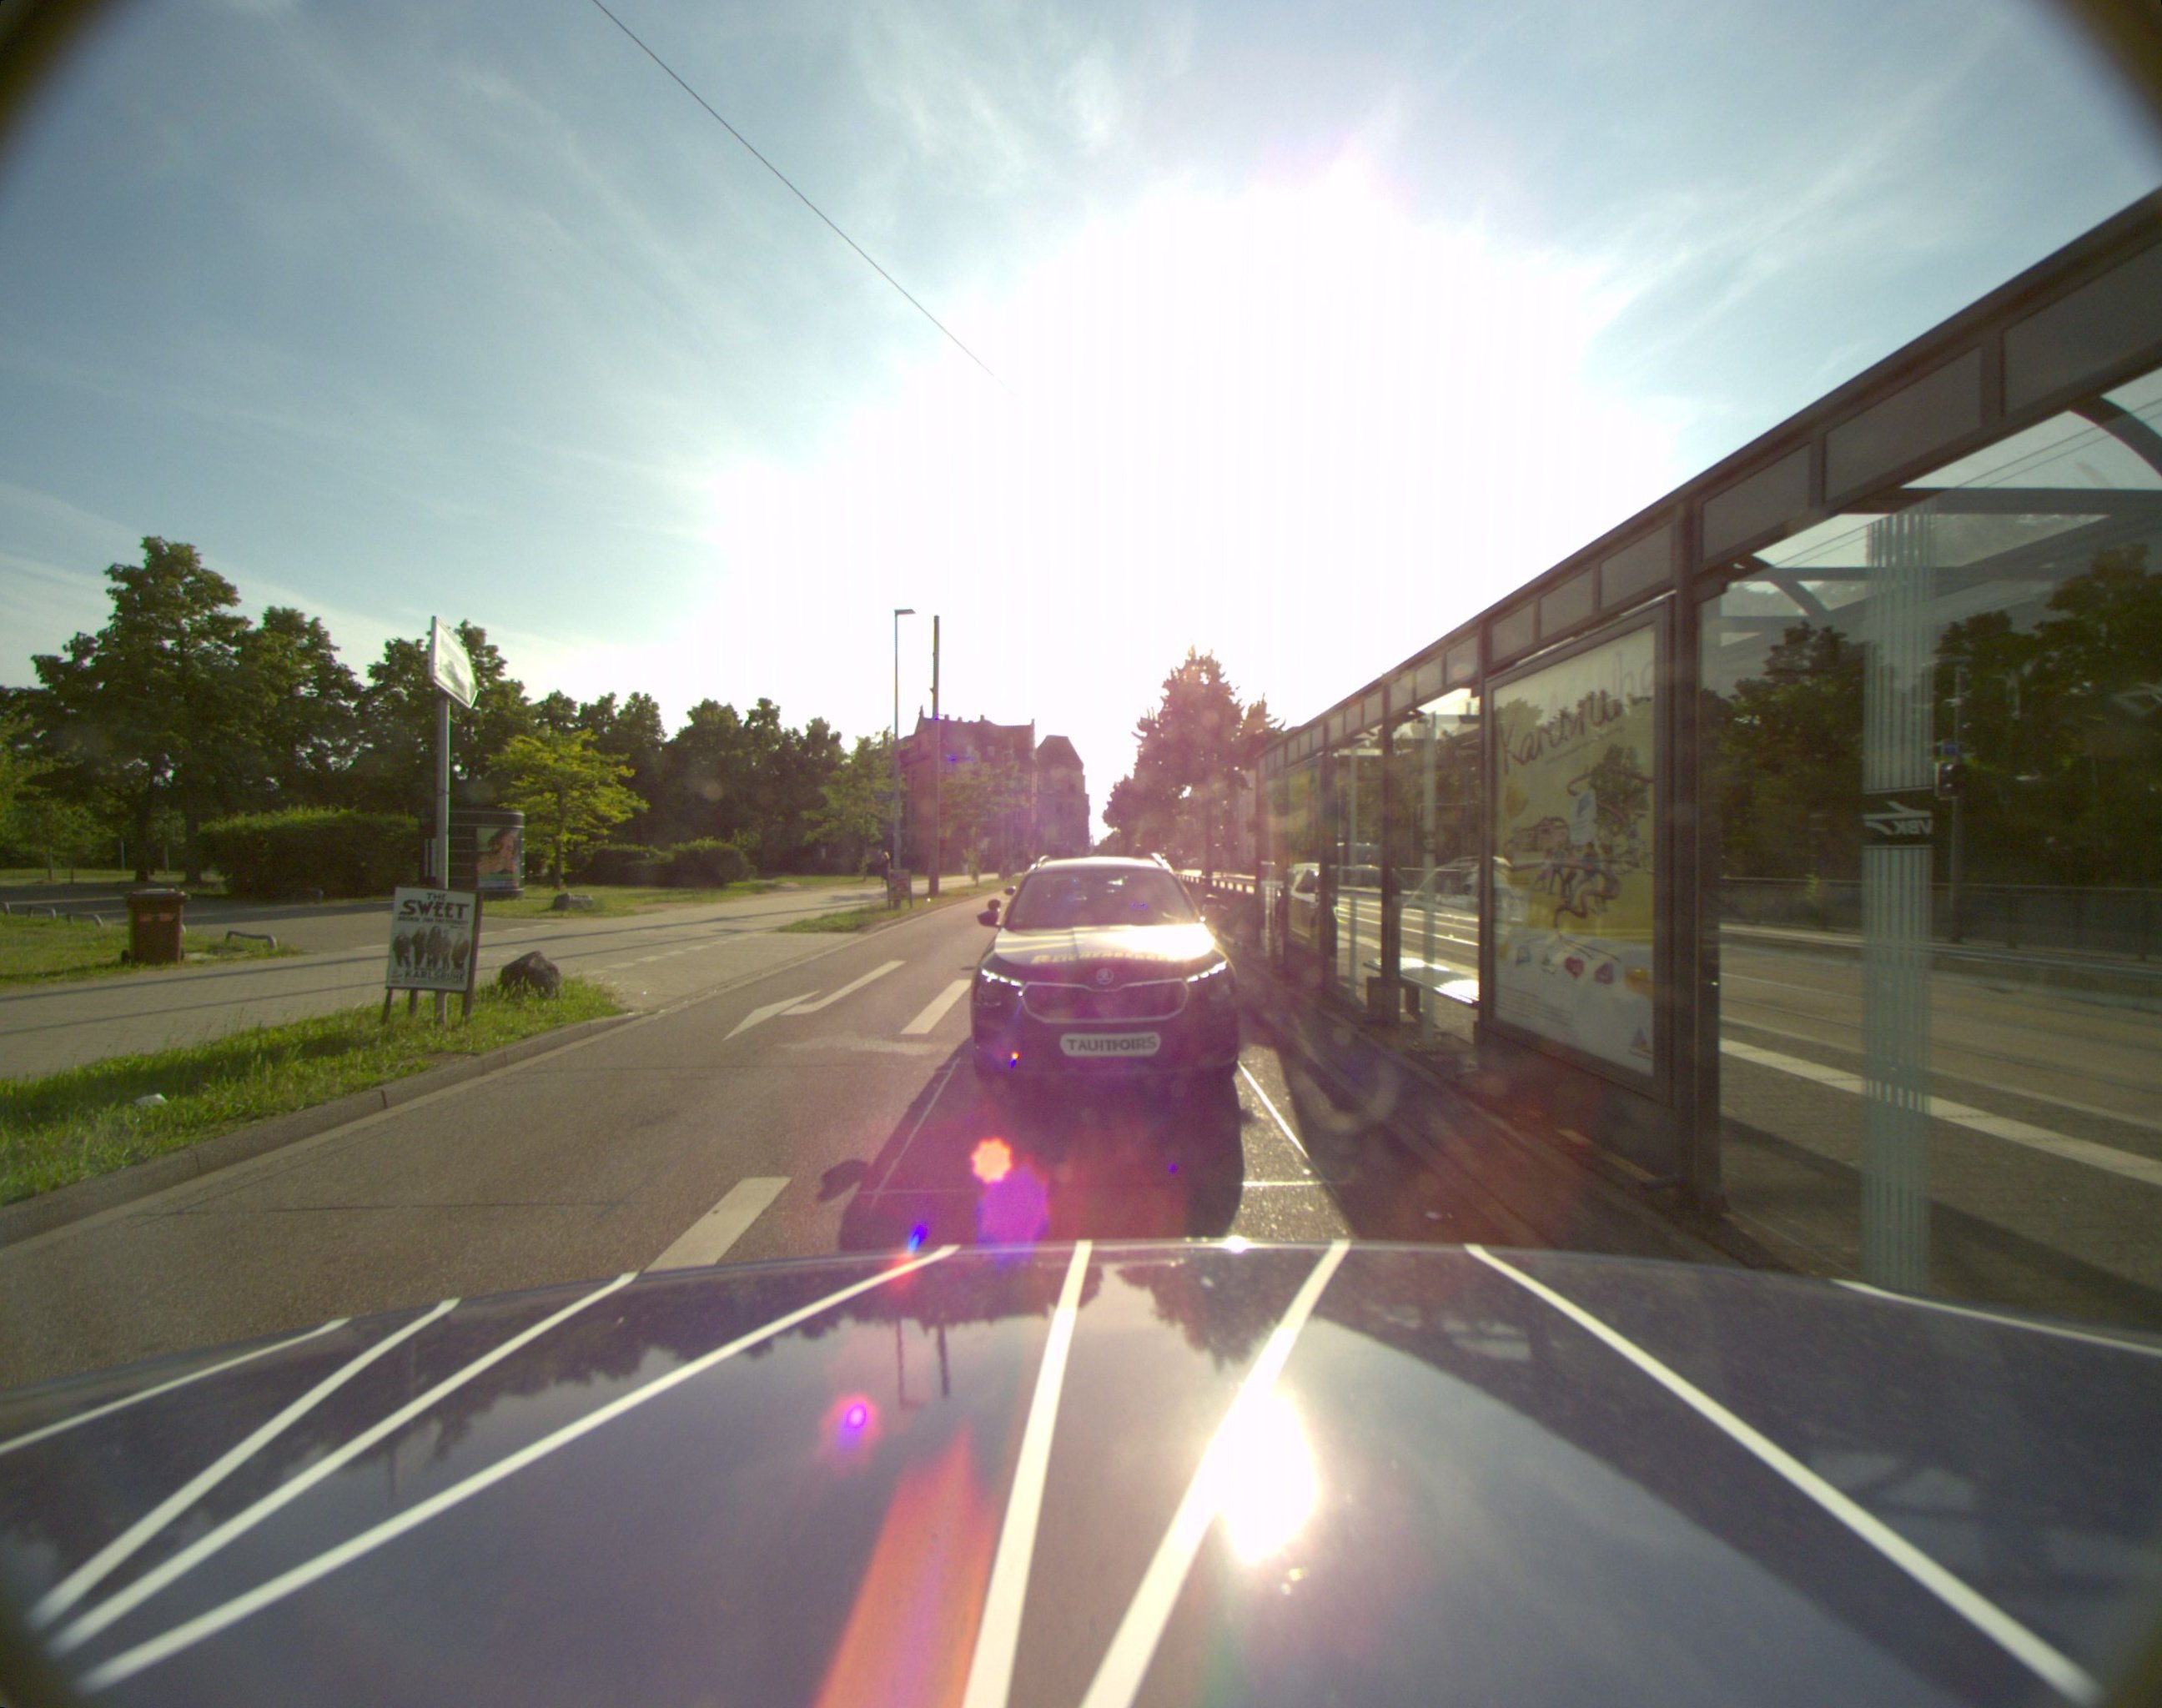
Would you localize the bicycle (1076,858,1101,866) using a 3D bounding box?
[{"bbox_3d":[0.864,0.938,91.896,2.962,0.974,0.879,0,0,-2],"label":"bicycle"}]

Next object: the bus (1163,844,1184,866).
[{"bbox_3d":[15.464,0.119,127.746,2.437,3.415,9.261,-2,1,1],"label":"bus"}]

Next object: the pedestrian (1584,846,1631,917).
[{"bbox_3d":[12.943,0.665,18.702,0.621,1.675,0.618,3,1,1],"label":"pedestrian"}]

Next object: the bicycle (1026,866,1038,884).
[{"bbox_3d":[-3.174,1.353,49.600,0.652,1.040,1.980,-2,1,-1],"label":"bicycle"}]

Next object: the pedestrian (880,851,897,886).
[{"bbox_3d":[-9.378,0.712,37.053,0.621,1.675,0.618,-2,1,1],"label":"pedestrian"}]

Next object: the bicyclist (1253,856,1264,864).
[{"bbox_3d":[21.656,0.704,92.656,1.216,1.018,0.672,0,0,5],"label":"bicyclist"}]

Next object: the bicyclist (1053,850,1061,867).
[{"bbox_3d":[-2.124,0.408,67.829,0.689,1.445,1.111,0,0,0],"label":"bicyclist"}]

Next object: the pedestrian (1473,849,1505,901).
[{"bbox_3d":[13.496,0.678,25.148,0.621,1.675,0.618,3,1,1],"label":"pedestrian"}]

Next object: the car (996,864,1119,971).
[{"bbox_3d":[-0.306,0.955,13.168,1.756,1.451,4.235,-1,0,1],"label":"car"}]

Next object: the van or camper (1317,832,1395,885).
[{"bbox_3d":[16.789,0.222,46.891,2.527,2.951,6.411,-2,1,1],"label":"van or camper"}]

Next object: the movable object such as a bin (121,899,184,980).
[{"bbox_3d":[-11.403,1.029,9.342,0.603,0.912,0.457,1,1,42],"label":"movable object such as a bin"}]

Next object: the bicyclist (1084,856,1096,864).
[{"bbox_3d":[1.044,0.750,91.935,1.402,1.000,0.888,0,0,-1],"label":"bicyclist"}]

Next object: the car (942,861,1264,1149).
[{"bbox_3d":[0.157,0.864,6.349,1.756,1.534,4.235,-1,0,1],"label":"car"}]

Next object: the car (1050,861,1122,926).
[{"bbox_3d":[0.156,1.013,21.002,1.756,1.534,4.235,-1,0,1],"label":"car"}]

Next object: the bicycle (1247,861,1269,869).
[{"bbox_3d":[21.545,1.348,92.671,2.536,0.876,0.631,0,0,5],"label":"bicycle"}]

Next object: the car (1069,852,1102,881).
[{"bbox_3d":[0.276,0.679,44.014,1.756,1.534,4.235,-1,0,1],"label":"car"}]

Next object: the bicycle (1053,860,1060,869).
[{"bbox_3d":[-2.141,0.953,67.792,0.567,0.789,2.041,0,0,0],"label":"bicycle"}]

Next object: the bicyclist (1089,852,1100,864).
[{"bbox_3d":[1.715,0.515,95.102,1.402,1.538,0.888,0,0,-1],"label":"bicyclist"}]

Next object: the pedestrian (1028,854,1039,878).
[{"bbox_3d":[-3.120,0.774,49.686,0.637,1.512,0.845,-2,1,-1],"label":"pedestrian"}]
